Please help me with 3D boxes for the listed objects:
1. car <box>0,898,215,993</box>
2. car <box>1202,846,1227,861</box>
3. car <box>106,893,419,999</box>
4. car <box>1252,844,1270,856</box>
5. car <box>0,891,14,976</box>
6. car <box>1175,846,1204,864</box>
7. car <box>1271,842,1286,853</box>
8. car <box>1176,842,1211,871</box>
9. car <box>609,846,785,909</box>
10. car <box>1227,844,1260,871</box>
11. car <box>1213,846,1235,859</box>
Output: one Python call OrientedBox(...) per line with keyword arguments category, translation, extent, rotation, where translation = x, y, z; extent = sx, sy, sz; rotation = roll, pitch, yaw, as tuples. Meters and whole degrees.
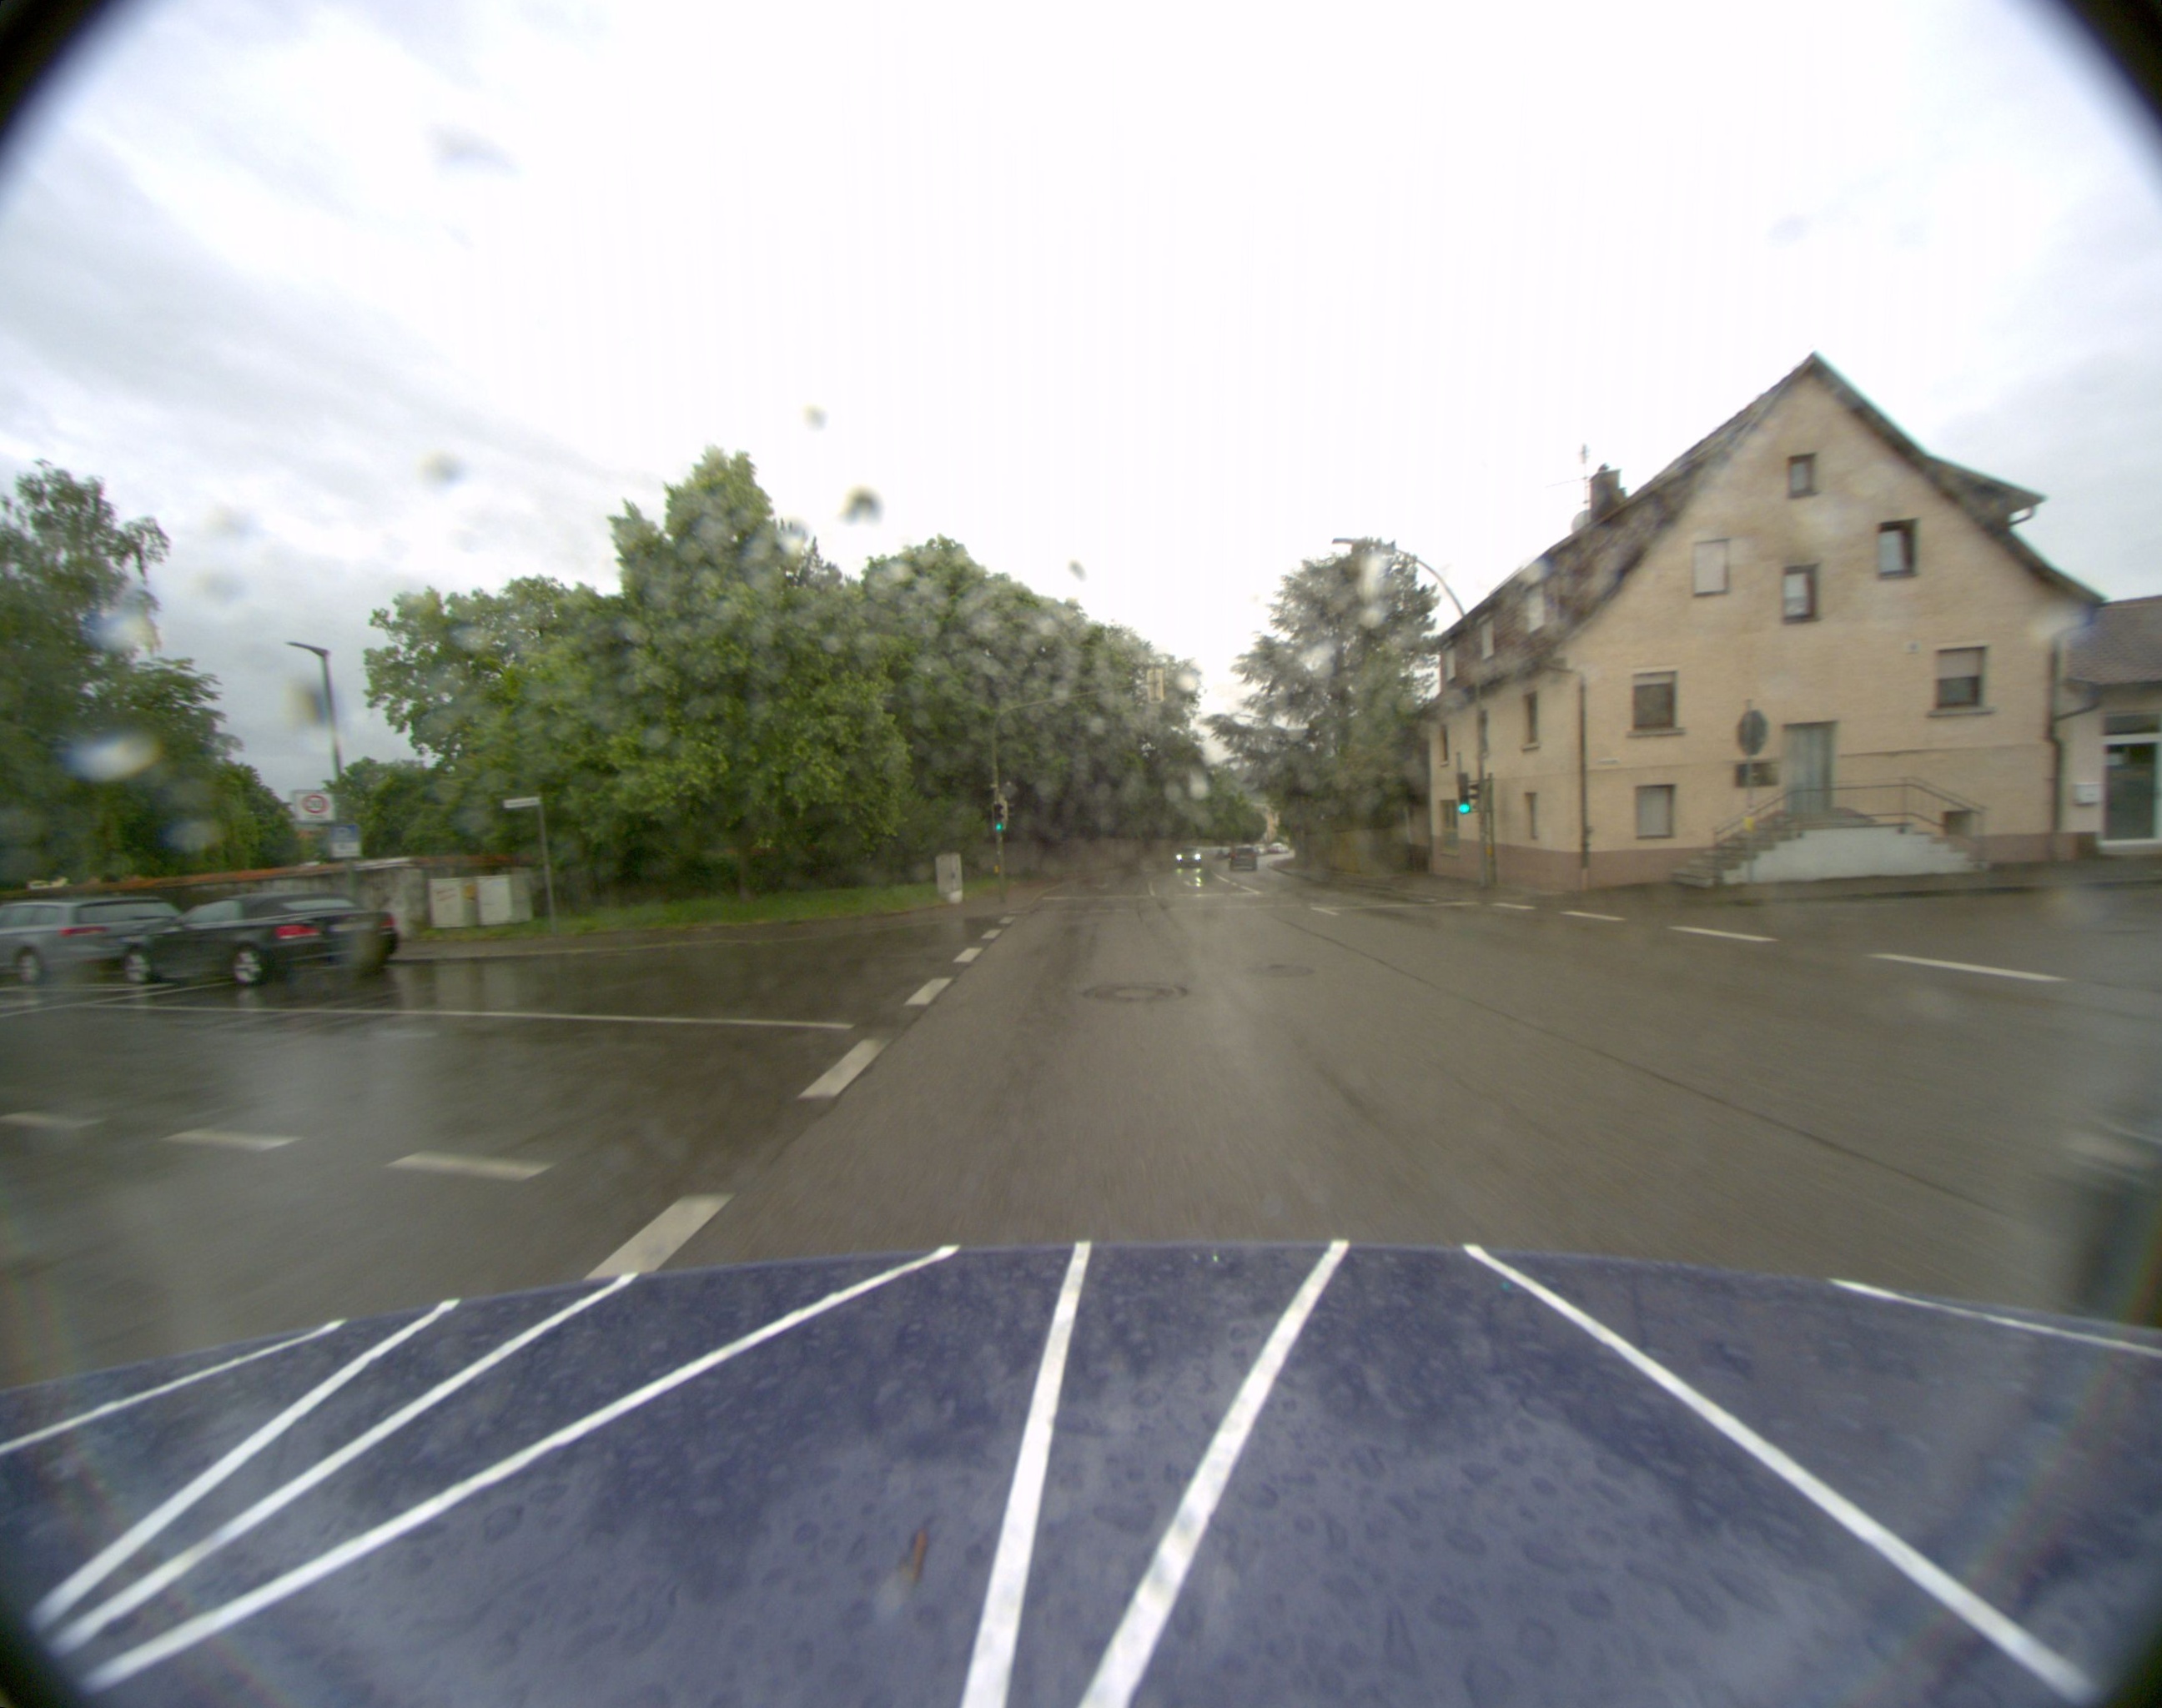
OrientedBox(category="car", translation=(-18.657, 1.656, 13.954), extent=(4.387, 1.434, 1.835), rotation=(-3, 1, 15))
OrientedBox(category="car", translation=(13.982, -0.074, 79.371), extent=(1.761, 1.411, 4.159), rotation=(0, 1, 21))
OrientedBox(category="car", translation=(-13.606, 1.498, 12.690), extent=(4.157, 1.434, 1.835), rotation=(-3, 1, 17))
OrientedBox(category="car", translation=(25.884, -0.631, 109.181), extent=(1.830, 1.620, 4.159), rotation=(0, 1, 22))
OrientedBox(category="car", translation=(-24.376, 1.739, 15.307), extent=(4.457, 1.717, 1.835), rotation=(-3, 1, 15))
OrientedBox(category="car", translation=(9.802, 0.060, 68.682), extent=(1.791, 1.524, 3.805), rotation=(0, 1, 20))
OrientedBox(category="car", translation=(33.663, -1.090, 129.563), extent=(1.946, 1.783, 4.192), rotation=(-1, 1, 21))
OrientedBox(category="car", translation=(8.545, 0.146, 57.586), extent=(1.996, 2.002, 4.003), rotation=(-2, 2, 16))
OrientedBox(category="car", translation=(-9.762, 0.559, 19.303), extent=(3.990, 1.447, 1.857), rotation=(-1, 1, 25))
OrientedBox(category="car", translation=(10.738, 0.216, 50.438), extent=(1.997, 1.696, 4.003), rotation=(-2, 1, 10))
OrientedBox(category="car", translation=(15.870, -0.160, 84.369), extent=(1.761, 1.411, 4.159), rotation=(0, 1, 20))
